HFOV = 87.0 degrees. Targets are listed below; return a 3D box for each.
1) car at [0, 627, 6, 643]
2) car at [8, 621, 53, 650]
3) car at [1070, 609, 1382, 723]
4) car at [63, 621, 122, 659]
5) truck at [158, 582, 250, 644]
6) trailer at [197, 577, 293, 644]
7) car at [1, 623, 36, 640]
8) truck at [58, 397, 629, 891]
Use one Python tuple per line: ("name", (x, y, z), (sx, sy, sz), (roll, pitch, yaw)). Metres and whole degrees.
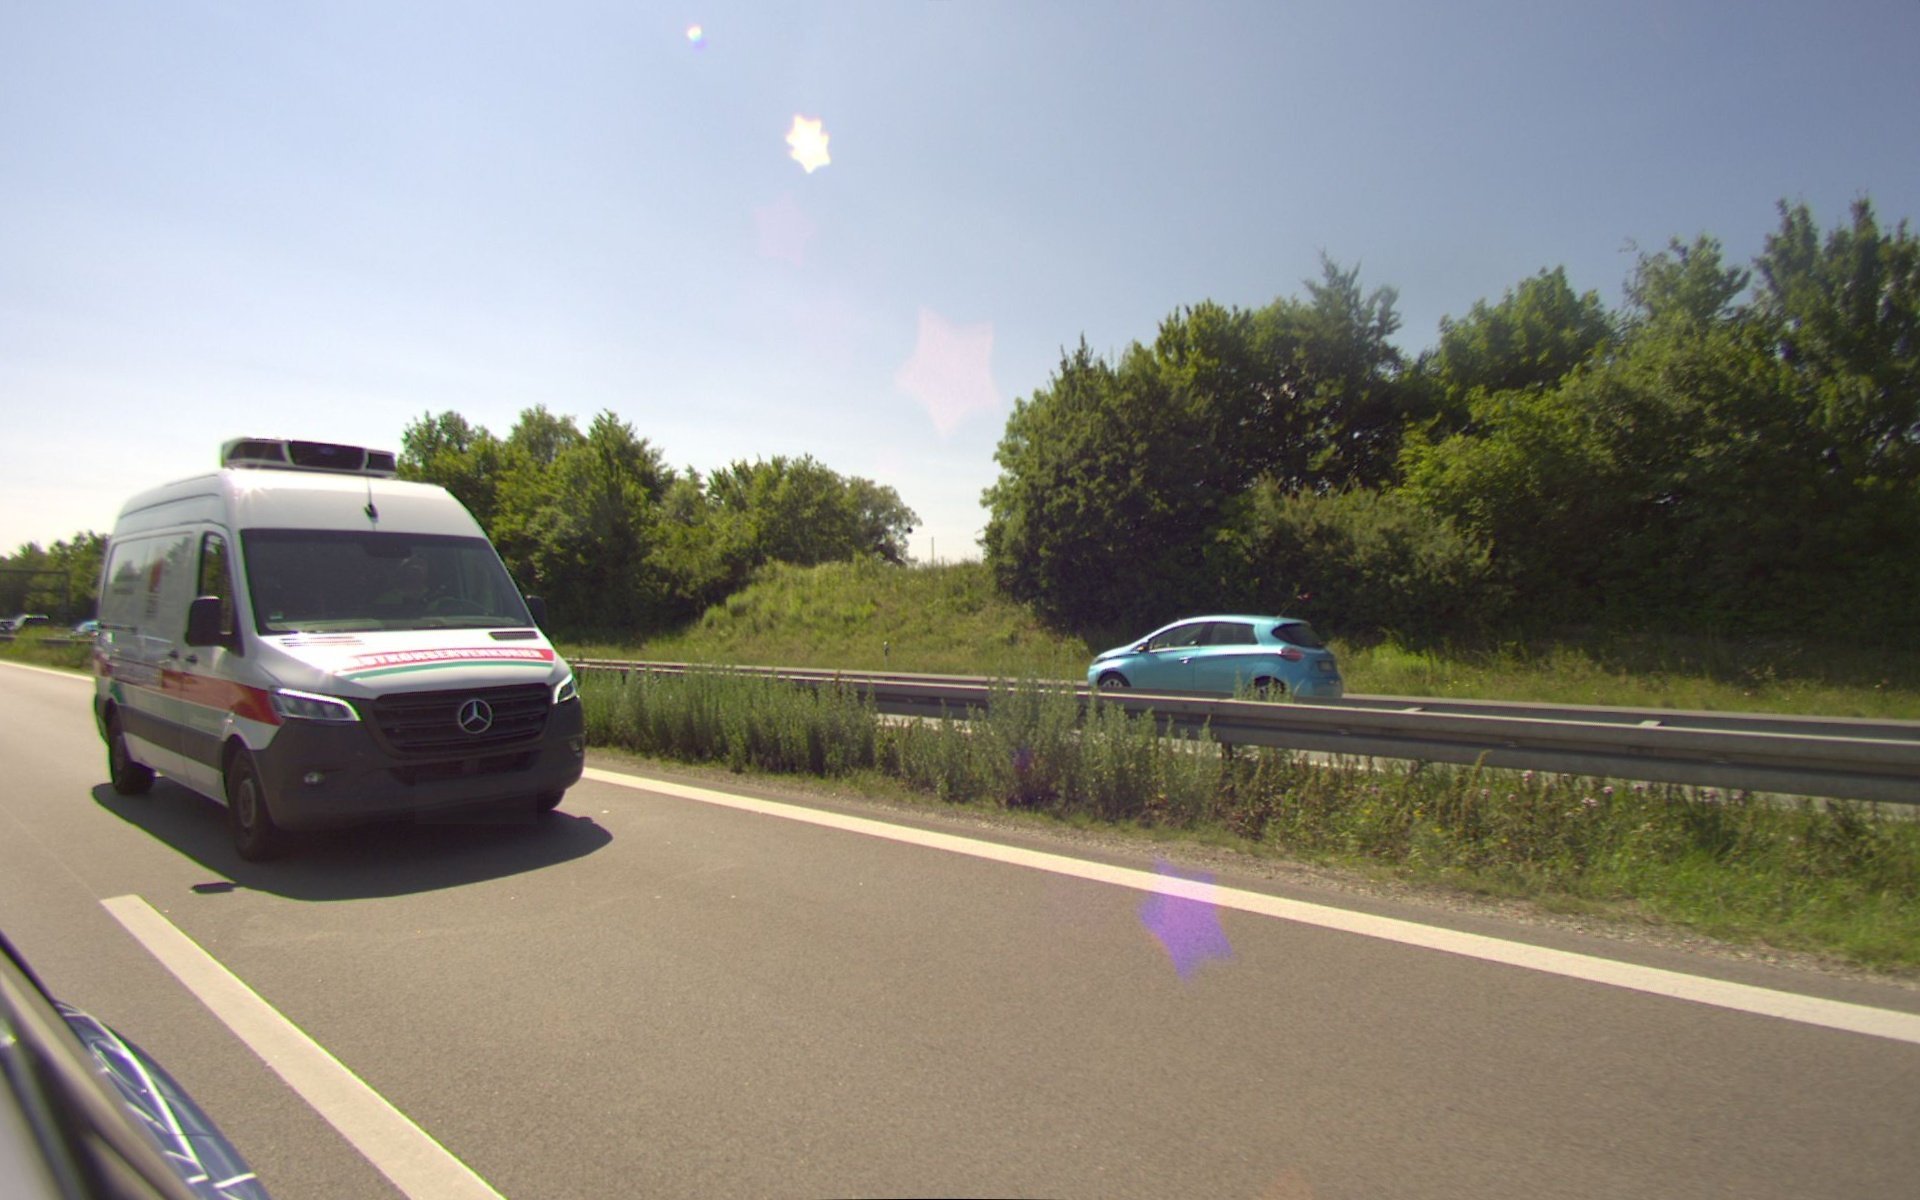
("car", (-81.545, 2.907, 84.960), (4.118, 1.327, 1.650), (-1, -2, 41))
("car", (-63.322, 2.430, 68.956), (3.998, 1.918, 1.798), (-1, -2, 41))
("car", (4.003, 0.940, 15.690), (4.347, 1.521, 1.776), (-1, -2, 40))
("car", (-45.876, 2.088, 53.487), (3.998, 1.918, 1.798), (-1, -2, 41))
("truck", (-50.149, 0.933, 67.003), (9.911, 3.798, 2.651), (-1, -3, 40))
("trailer", (-43.208, 0.728, 61.030), (8.400, 3.798, 2.651), (-1, -3, 40))
("car", (-93.273, 3.136, 100.263), (4.571, 1.642, 1.973), (-1, -2, 40))
("truck", (-5.396, 0.273, 8.189), (6.688, 2.561, 1.973), (-1, 0, 41))
